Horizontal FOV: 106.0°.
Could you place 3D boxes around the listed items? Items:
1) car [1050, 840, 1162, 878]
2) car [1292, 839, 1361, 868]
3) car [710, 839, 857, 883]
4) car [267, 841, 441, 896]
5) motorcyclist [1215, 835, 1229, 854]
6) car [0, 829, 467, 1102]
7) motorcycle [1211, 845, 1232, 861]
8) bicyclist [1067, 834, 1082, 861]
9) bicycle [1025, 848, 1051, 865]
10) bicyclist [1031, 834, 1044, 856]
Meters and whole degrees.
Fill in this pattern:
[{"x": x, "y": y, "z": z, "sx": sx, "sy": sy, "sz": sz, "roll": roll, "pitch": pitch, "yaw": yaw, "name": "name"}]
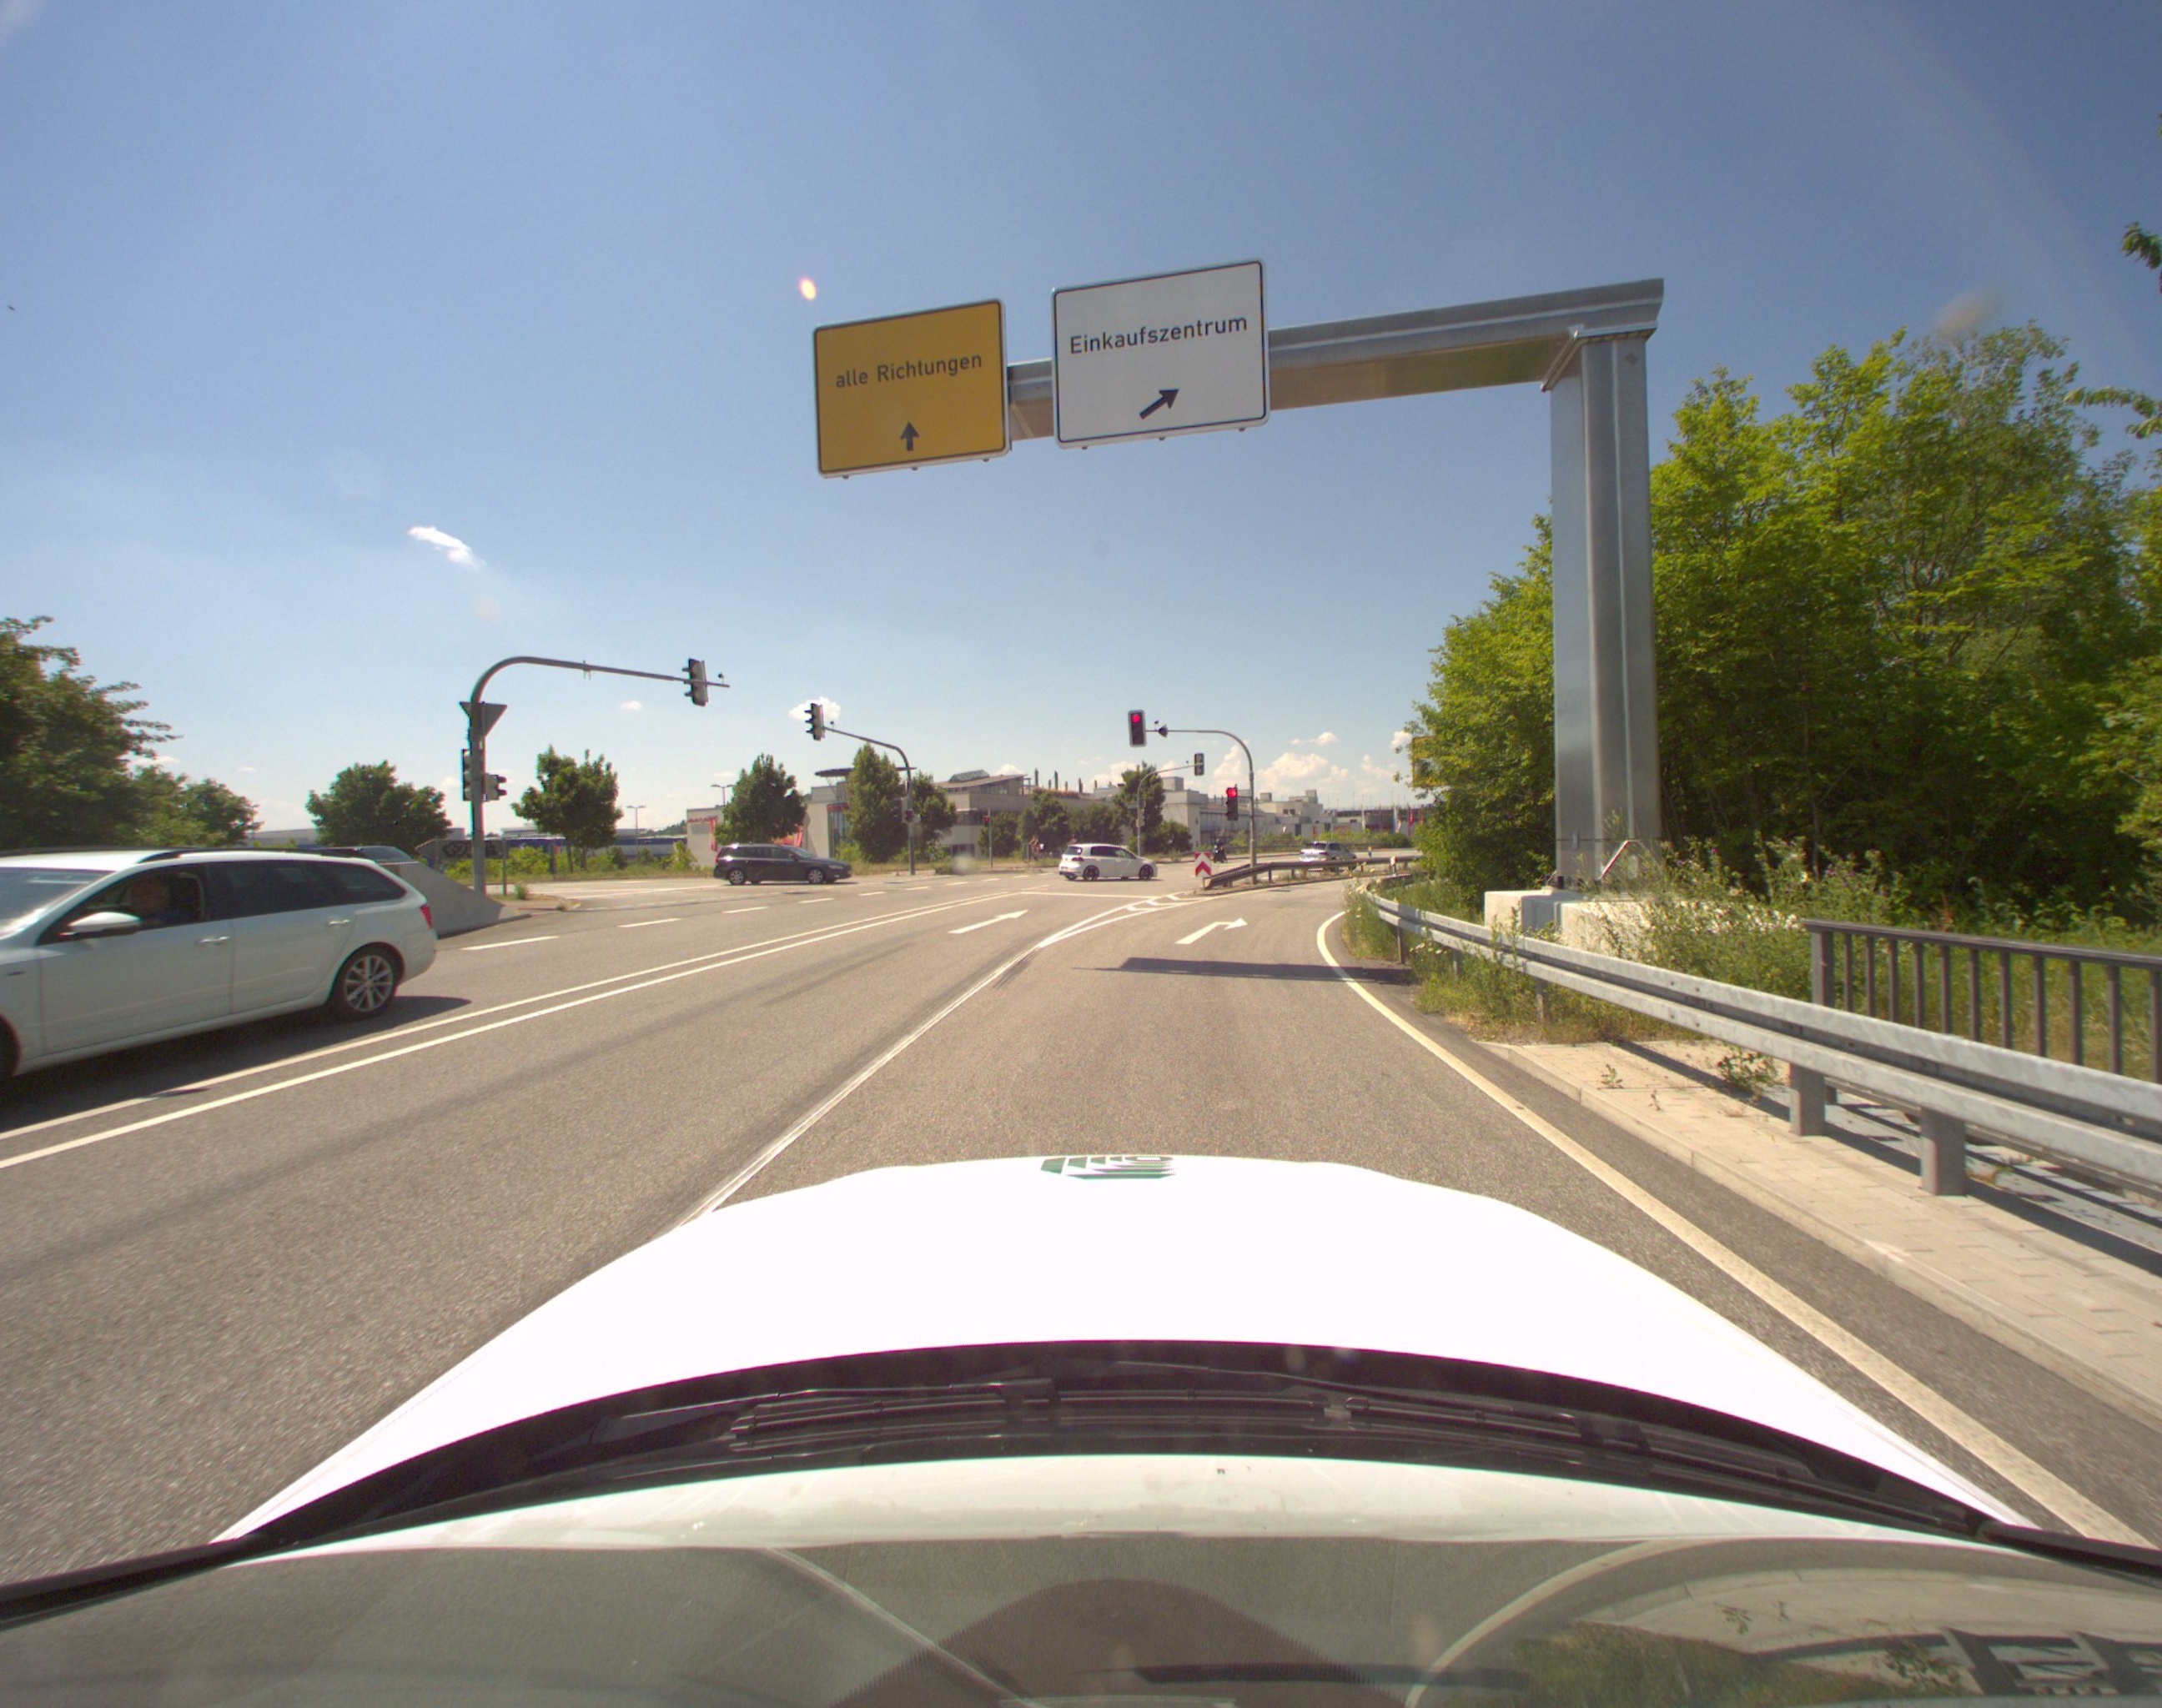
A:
[{"x": 1.014, "y": 0.182, "z": 33.103, "sx": 4.148, "sy": 1.486, "sz": 1.981, "roll": 0, "pitch": 1, "yaw": -31, "name": "car"}, {"x": 13.601, "y": -0.063, "z": 44.924, "sx": 1.974, "sy": 1.505, "sz": 4.423, "roll": -2, "pitch": -1, "yaw": 41, "name": "car"}, {"x": -10.728, "y": 0.230, "z": 29.587, "sx": 4.704, "sy": 1.545, "sz": 1.736, "roll": 0, "pitch": 0, "yaw": -1, "name": "car"}, {"x": -27.979, "y": 0.540, "z": 31.411, "sx": 5.358, "sy": 1.937, "sz": 2.132, "roll": -1, "pitch": 0, "yaw": 11, "name": "car"}, {"x": 9.752, "y": -0.680, "z": 56.371, "sx": 0.668, "sy": 1.303, "sz": 0.728, "roll": -2, "pitch": -1, "yaw": 33, "name": "motorcyclist"}, {"x": -6.860, "y": 0.611, "z": 5.683, "sx": 1.783, "sy": 1.495, "sz": 4.548, "roll": -1, "pitch": 1, "yaw": -2, "name": "car"}, {"x": 9.719, "y": -0.062, "z": 56.322, "sx": 0.557, "sy": 1.080, "sz": 2.299, "roll": -1, "pitch": 0, "yaw": 33, "name": "motorcycle"}, {"x": -0.407, "y": -0.409, "z": 51.625, "sx": 0.732, "sy": 1.717, "sz": 0.527, "roll": 1, "pitch": 1, "yaw": -28, "name": "bicyclist"}, {"x": -2.687, "y": 0.135, "z": 50.942, "sx": 1.843, "sy": 1.024, "sz": 0.410, "roll": 0, "pitch": 2, "yaw": -45, "name": "bicycle"}, {"x": -2.739, "y": -0.558, "z": 50.881, "sx": 0.689, "sy": 1.404, "sz": 0.403, "roll": 1, "pitch": 1, "yaw": -45, "name": "bicyclist"}]
